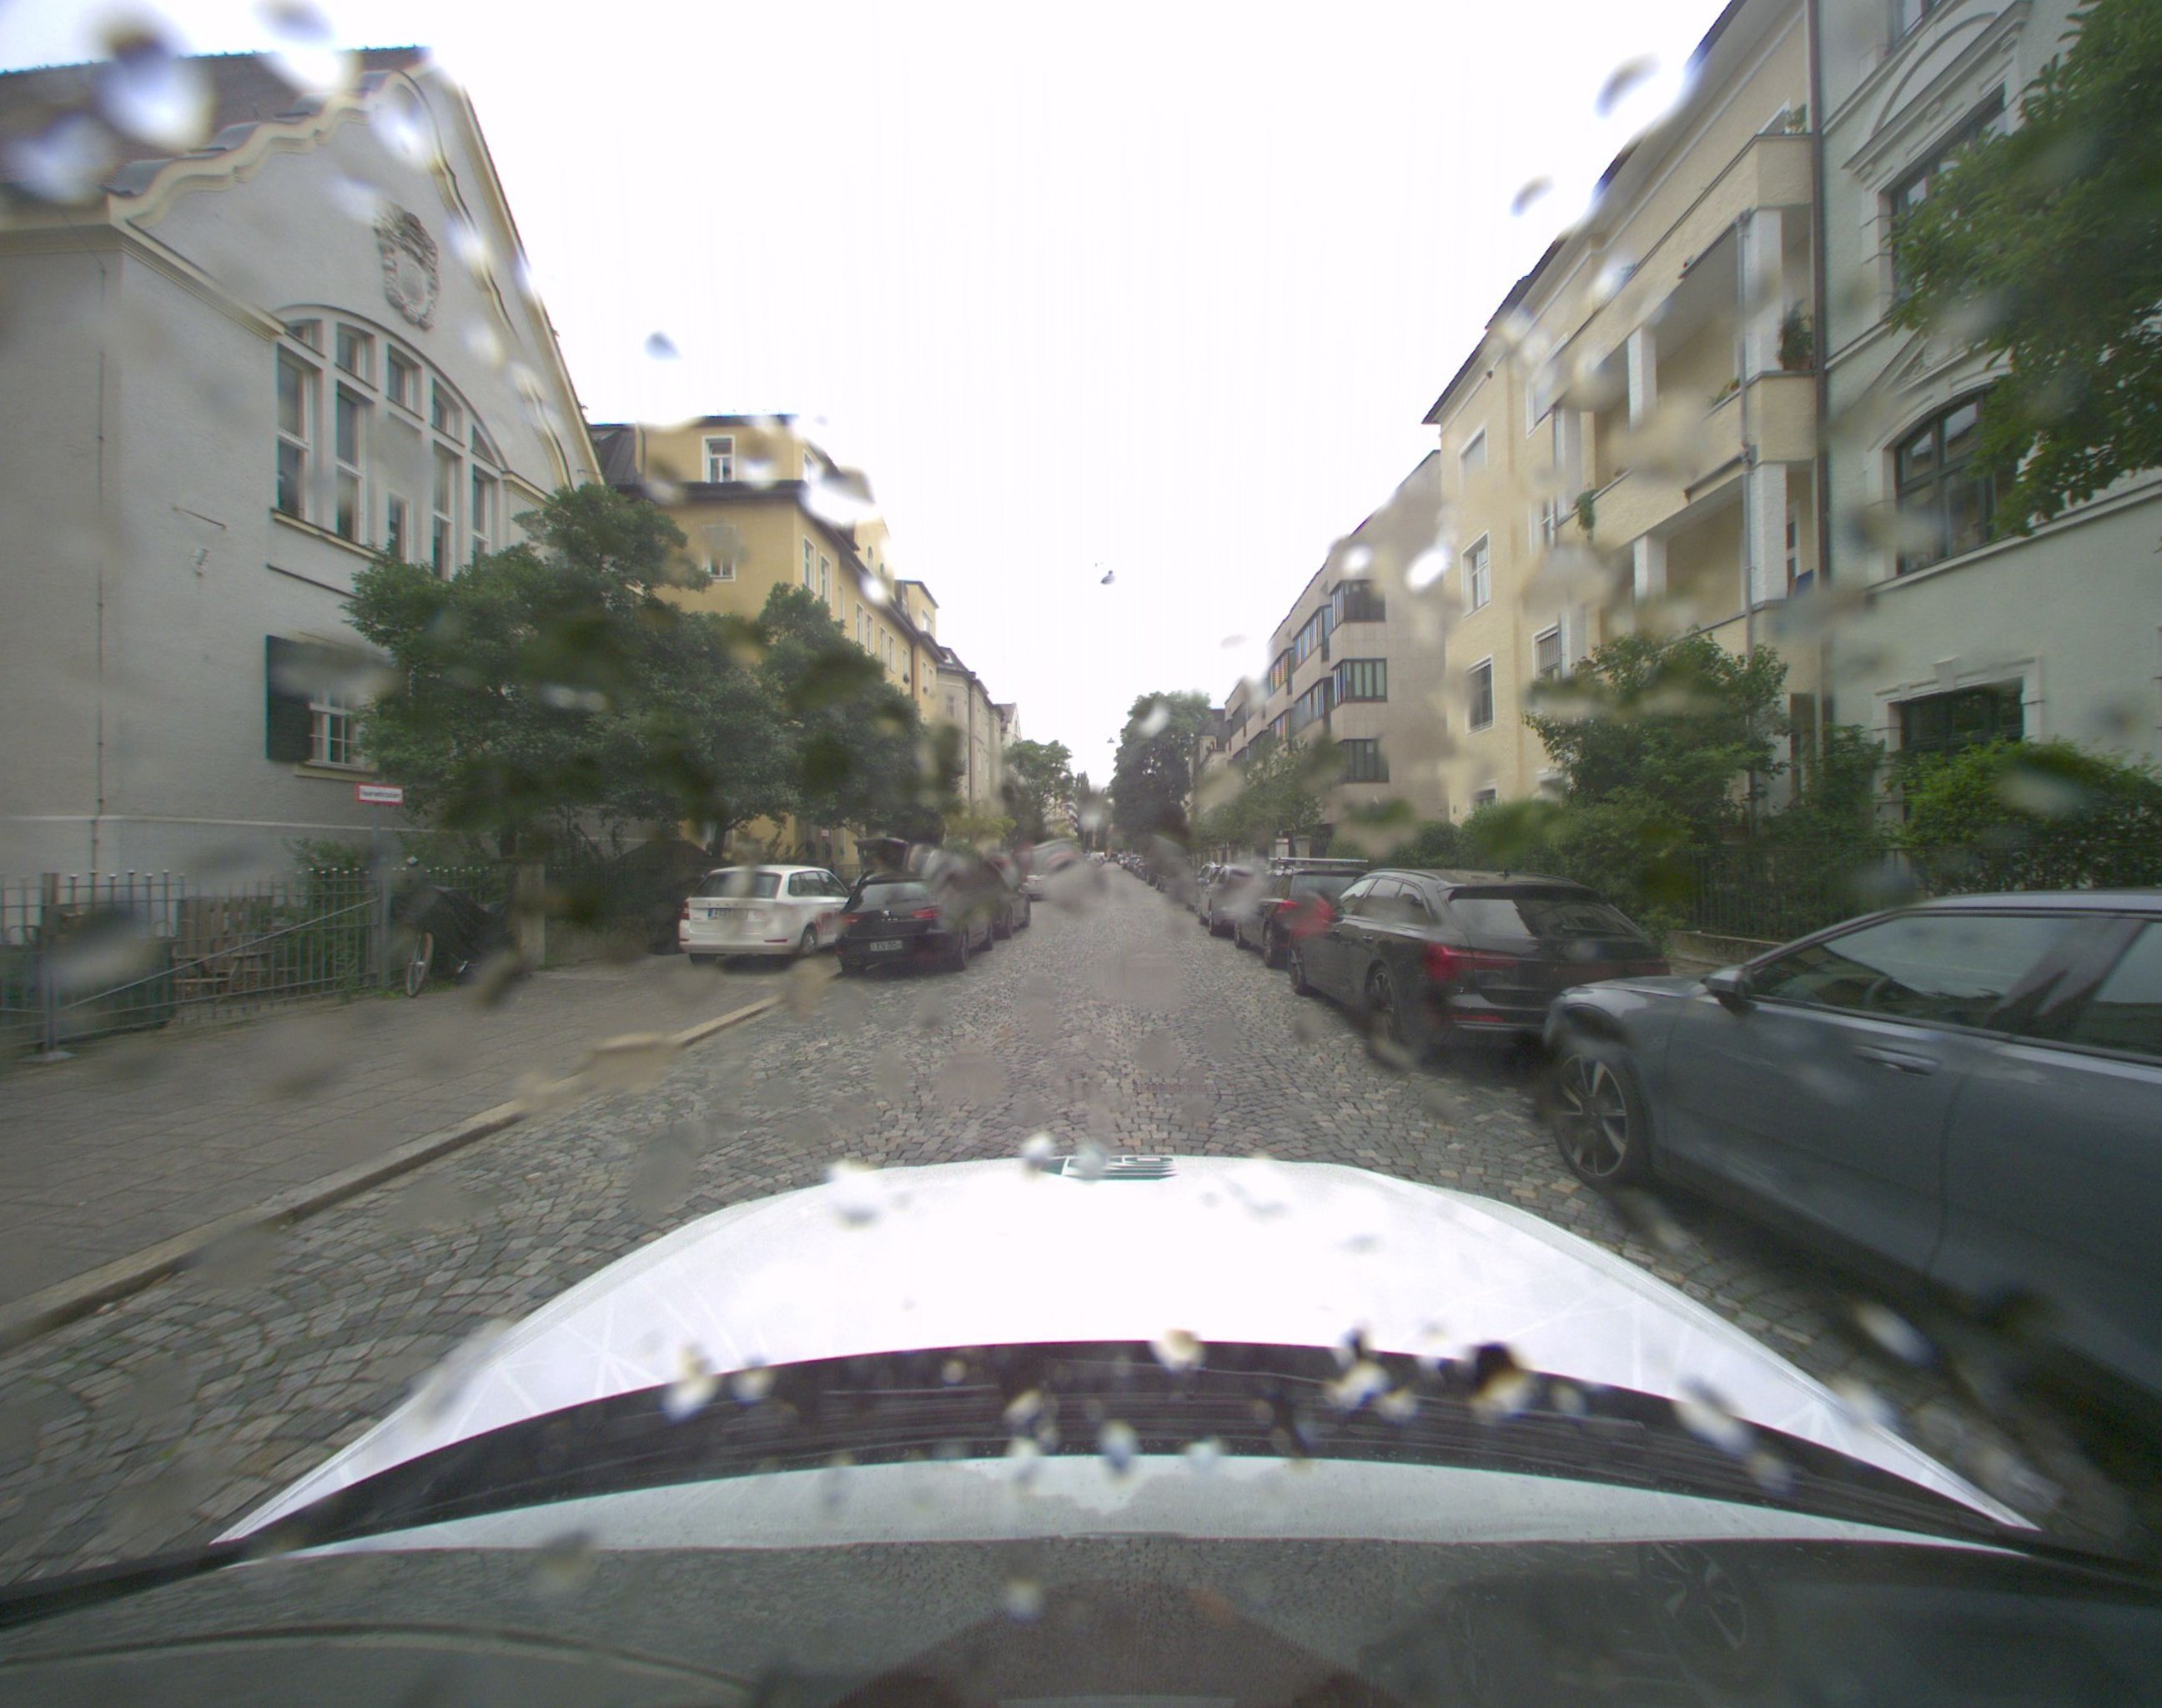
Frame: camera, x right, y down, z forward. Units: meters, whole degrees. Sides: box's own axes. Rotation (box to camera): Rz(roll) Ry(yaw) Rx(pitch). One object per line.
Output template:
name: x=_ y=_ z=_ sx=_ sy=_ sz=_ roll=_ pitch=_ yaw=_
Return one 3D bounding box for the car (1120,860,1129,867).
car: x=9.411 y=2.121 z=176.414 sx=1.783 sy=1.520 sz=4.003 roll=0 pitch=-1 yaw=3

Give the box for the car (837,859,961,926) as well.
car: x=-4.315 y=0.852 z=20.079 sx=1.768 sy=1.417 sz=4.564 roll=1 pitch=0 yaw=3

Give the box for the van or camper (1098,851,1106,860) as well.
van or camper: x=6.248 y=0.504 z=240.276 sx=2.247 sy=2.742 sz=5.100 roll=1 pitch=-1 yaw=2

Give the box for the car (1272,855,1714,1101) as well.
car: x=3.229 y=0.813 z=7.747 sx=1.811 sy=1.488 sz=5.052 roll=3 pitch=0 yaw=3

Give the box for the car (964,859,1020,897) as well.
car: x=-3.771 y=0.978 z=35.224 sx=1.708 sy=1.497 sz=4.723 roll=2 pitch=0 yaw=2

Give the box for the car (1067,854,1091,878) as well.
car: x=-0.134 y=1.045 z=71.682 sx=1.866 sy=1.917 sz=4.828 roll=-2 pitch=-1 yaw=1

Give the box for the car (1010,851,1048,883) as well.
car: x=-3.308 y=0.831 z=52.715 sx=1.987 sy=1.931 sz=5.331 roll=1 pitch=0 yaw=1

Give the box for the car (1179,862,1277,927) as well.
car: x=4.012 y=1.042 z=23.101 sx=1.986 sy=1.552 sz=5.016 roll=2 pitch=0 yaw=2

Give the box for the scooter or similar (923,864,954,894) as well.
scooter or similar: x=-6.125 y=1.075 z=35.102 sx=0.952 sy=1.200 sz=1.523 roll=2 pitch=0 yaw=2

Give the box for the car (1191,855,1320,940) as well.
car: x=3.628 y=0.849 z=17.879 sx=1.985 sy=1.552 sz=4.989 roll=1 pitch=0 yaw=3

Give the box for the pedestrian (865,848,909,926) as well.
pedestrian: x=-4.205 y=0.711 z=17.705 sx=0.762 sy=1.650 sz=0.583 roll=0 pitch=-1 yaw=3

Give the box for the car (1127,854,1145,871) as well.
car: x=6.923 y=1.056 z=102.745 sx=1.867 sy=1.928 sz=5.163 roll=2 pitch=0 yaw=0

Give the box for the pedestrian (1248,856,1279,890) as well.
pedestrian: x=8.445 y=0.852 z=37.719 sx=1.211 sy=1.493 sz=1.131 roll=-3 pitch=-1 yaw=4

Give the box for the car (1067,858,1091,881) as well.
car: x=-0.160 y=1.205 z=66.536 sx=1.859 sy=1.735 sz=4.402 roll=-3 pitch=0 yaw=-1

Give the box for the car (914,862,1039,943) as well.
car: x=-2.126 y=0.950 z=17.975 sx=1.807 sy=1.455 sz=4.916 roll=-3 pitch=-1 yaw=3

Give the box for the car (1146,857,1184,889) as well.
car: x=4.885 y=1.053 z=47.753 sx=1.853 sy=1.702 sz=4.815 roll=3 pitch=0 yaw=2

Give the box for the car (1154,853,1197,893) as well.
car: x=4.485 y=0.892 z=39.280 sx=1.613 sy=1.751 sz=3.887 roll=3 pitch=0 yaw=1

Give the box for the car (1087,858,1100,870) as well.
car: x=1.868 y=1.477 z=122.786 sx=1.867 sy=1.580 sz=4.254 roll=-3 pitch=0 yaw=0

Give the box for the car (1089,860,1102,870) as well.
car: x=2.501 y=1.855 z=140.701 sx=1.864 sy=1.580 sz=4.214 roll=2 pitch=-1 yaw=5

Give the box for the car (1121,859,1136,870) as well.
car: x=6.699 y=1.432 z=114.747 sx=1.867 sy=1.503 sz=4.510 roll=2 pitch=0 yaw=0

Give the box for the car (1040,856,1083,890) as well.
car: x=-1.058 y=1.076 z=47.066 sx=1.998 sy=1.809 sz=5.178 roll=-2 pitch=-1 yaw=3

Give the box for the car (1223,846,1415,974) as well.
car: x=3.534 y=0.766 z=12.948 sx=1.886 sy=1.654 sz=4.295 roll=1 pitch=-1 yaw=2

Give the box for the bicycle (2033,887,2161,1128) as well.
bicycle: x=5.786 y=0.779 z=3.822 sx=0.580 sy=1.195 sz=1.641 roll=1 pitch=-1 yaw=-12

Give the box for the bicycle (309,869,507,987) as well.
bicycle: x=-8.006 y=0.816 z=9.842 sx=0.603 sy=1.259 sz=2.061 roll=0 pitch=-1 yaw=2

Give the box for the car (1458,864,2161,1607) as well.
car: x=3.185 y=0.818 z=2.609 sx=1.875 sy=1.488 sz=4.817 roll=2 pitch=-1 yaw=3

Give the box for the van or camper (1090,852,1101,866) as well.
van or camper: x=2.811 y=0.984 z=155.672 sx=1.985 sy=2.652 sz=4.002 roll=-3 pitch=-1 yaw=3

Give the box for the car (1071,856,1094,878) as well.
car: x=0.184 y=1.194 z=78.080 sx=1.986 sy=1.917 sz=5.178 roll=-4 pitch=-1 yaw=1

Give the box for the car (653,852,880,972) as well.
car: x=-4.674 y=0.786 z=12.925 sx=1.733 sy=1.536 sz=4.468 roll=1 pitch=-1 yaw=1

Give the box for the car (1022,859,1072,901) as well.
car: x=-1.343 y=1.039 z=33.694 sx=1.707 sy=1.562 sz=4.392 roll=-2 pitch=-1 yaw=2

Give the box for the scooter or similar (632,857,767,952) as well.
scooter or similar: x=-6.668 y=0.829 z=14.448 sx=1.058 sy=1.523 sz=2.636 roll=0 pitch=0 yaw=2

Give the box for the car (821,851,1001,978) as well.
car: x=-2.434 y=0.806 z=12.815 sx=1.733 sy=1.603 sz=4.538 roll=-2 pitch=-1 yaw=1

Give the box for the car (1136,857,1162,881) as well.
car: x=5.356 y=1.172 z=64.300 sx=1.865 sy=1.735 sz=4.896 roll=2 pitch=-1 yaw=3
